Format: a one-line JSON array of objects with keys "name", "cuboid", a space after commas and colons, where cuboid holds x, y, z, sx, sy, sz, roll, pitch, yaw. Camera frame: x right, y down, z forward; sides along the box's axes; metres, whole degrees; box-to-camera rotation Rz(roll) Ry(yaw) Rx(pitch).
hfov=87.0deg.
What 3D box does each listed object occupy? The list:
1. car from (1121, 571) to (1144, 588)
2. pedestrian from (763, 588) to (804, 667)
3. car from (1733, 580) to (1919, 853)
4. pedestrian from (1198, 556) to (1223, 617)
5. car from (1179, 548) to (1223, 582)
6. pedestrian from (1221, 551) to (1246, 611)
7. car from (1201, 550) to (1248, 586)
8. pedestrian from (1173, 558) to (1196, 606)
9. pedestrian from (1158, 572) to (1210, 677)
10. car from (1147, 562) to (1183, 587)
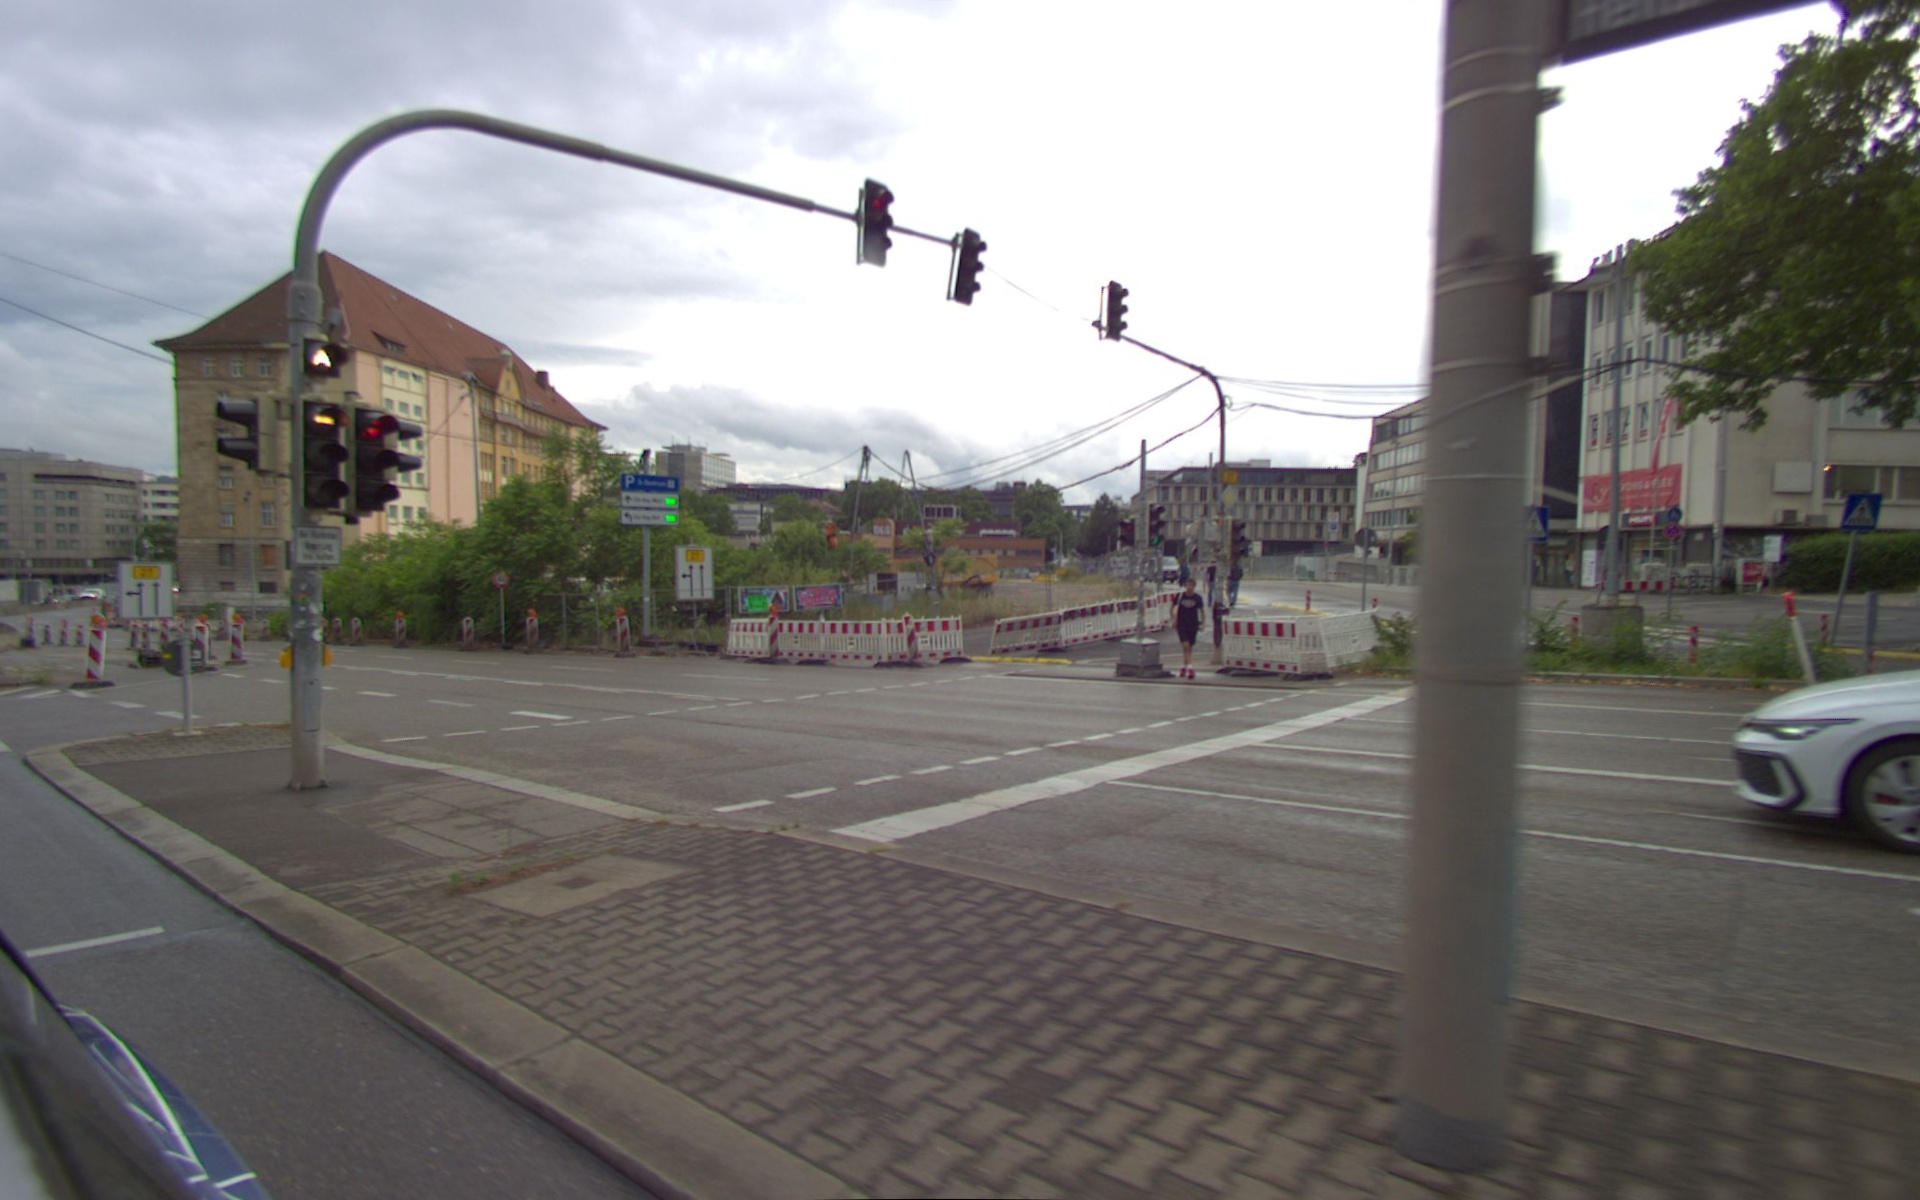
[{"name": "car", "cuboid": [15.694, -1.897, 92.258, 1.715, 1.536, 3.995, 0, 2, 4]}, {"name": "pedestrian", "cuboid": [-4.482, 0.683, 25.725, 0.742, 1.937, 0.752, 2, 2, 44]}, {"name": "car", "cuboid": [6.778, 0.605, 5.196, 4.357, 1.472, 1.743, -1, -1, 41]}, {"name": "pedestrian", "cuboid": [9.112, -0.509, 36.823, 0.738, 2.187, 0.701, 0, 1, 5]}, {"name": "car", "cuboid": [14.912, -2.145, 62.820, 1.974, 2.028, 3.995, 0, 2, 4]}, {"name": "pedestrian", "cuboid": [9.934, -0.693, 36.720, 0.738, 2.156, 0.742, -1, 1, 5]}, {"name": "car", "cuboid": [14.810, -1.791, 56.859, 1.791, 1.980, 3.995, 0, 2, 4]}, {"name": "pedestrian", "cuboid": [9.070, -0.721, 40.902, 0.758, 1.867, 0.783, -2, 0, 5]}, {"name": "pedestrian", "cuboid": [4.185, 0.435, 18.905, 0.745, 1.894, 0.735, 1, 2, 32]}, {"name": "car", "cuboid": [14.523, -1.847, 71.965, 1.974, 1.718, 3.995, 0, 2, 4]}]
